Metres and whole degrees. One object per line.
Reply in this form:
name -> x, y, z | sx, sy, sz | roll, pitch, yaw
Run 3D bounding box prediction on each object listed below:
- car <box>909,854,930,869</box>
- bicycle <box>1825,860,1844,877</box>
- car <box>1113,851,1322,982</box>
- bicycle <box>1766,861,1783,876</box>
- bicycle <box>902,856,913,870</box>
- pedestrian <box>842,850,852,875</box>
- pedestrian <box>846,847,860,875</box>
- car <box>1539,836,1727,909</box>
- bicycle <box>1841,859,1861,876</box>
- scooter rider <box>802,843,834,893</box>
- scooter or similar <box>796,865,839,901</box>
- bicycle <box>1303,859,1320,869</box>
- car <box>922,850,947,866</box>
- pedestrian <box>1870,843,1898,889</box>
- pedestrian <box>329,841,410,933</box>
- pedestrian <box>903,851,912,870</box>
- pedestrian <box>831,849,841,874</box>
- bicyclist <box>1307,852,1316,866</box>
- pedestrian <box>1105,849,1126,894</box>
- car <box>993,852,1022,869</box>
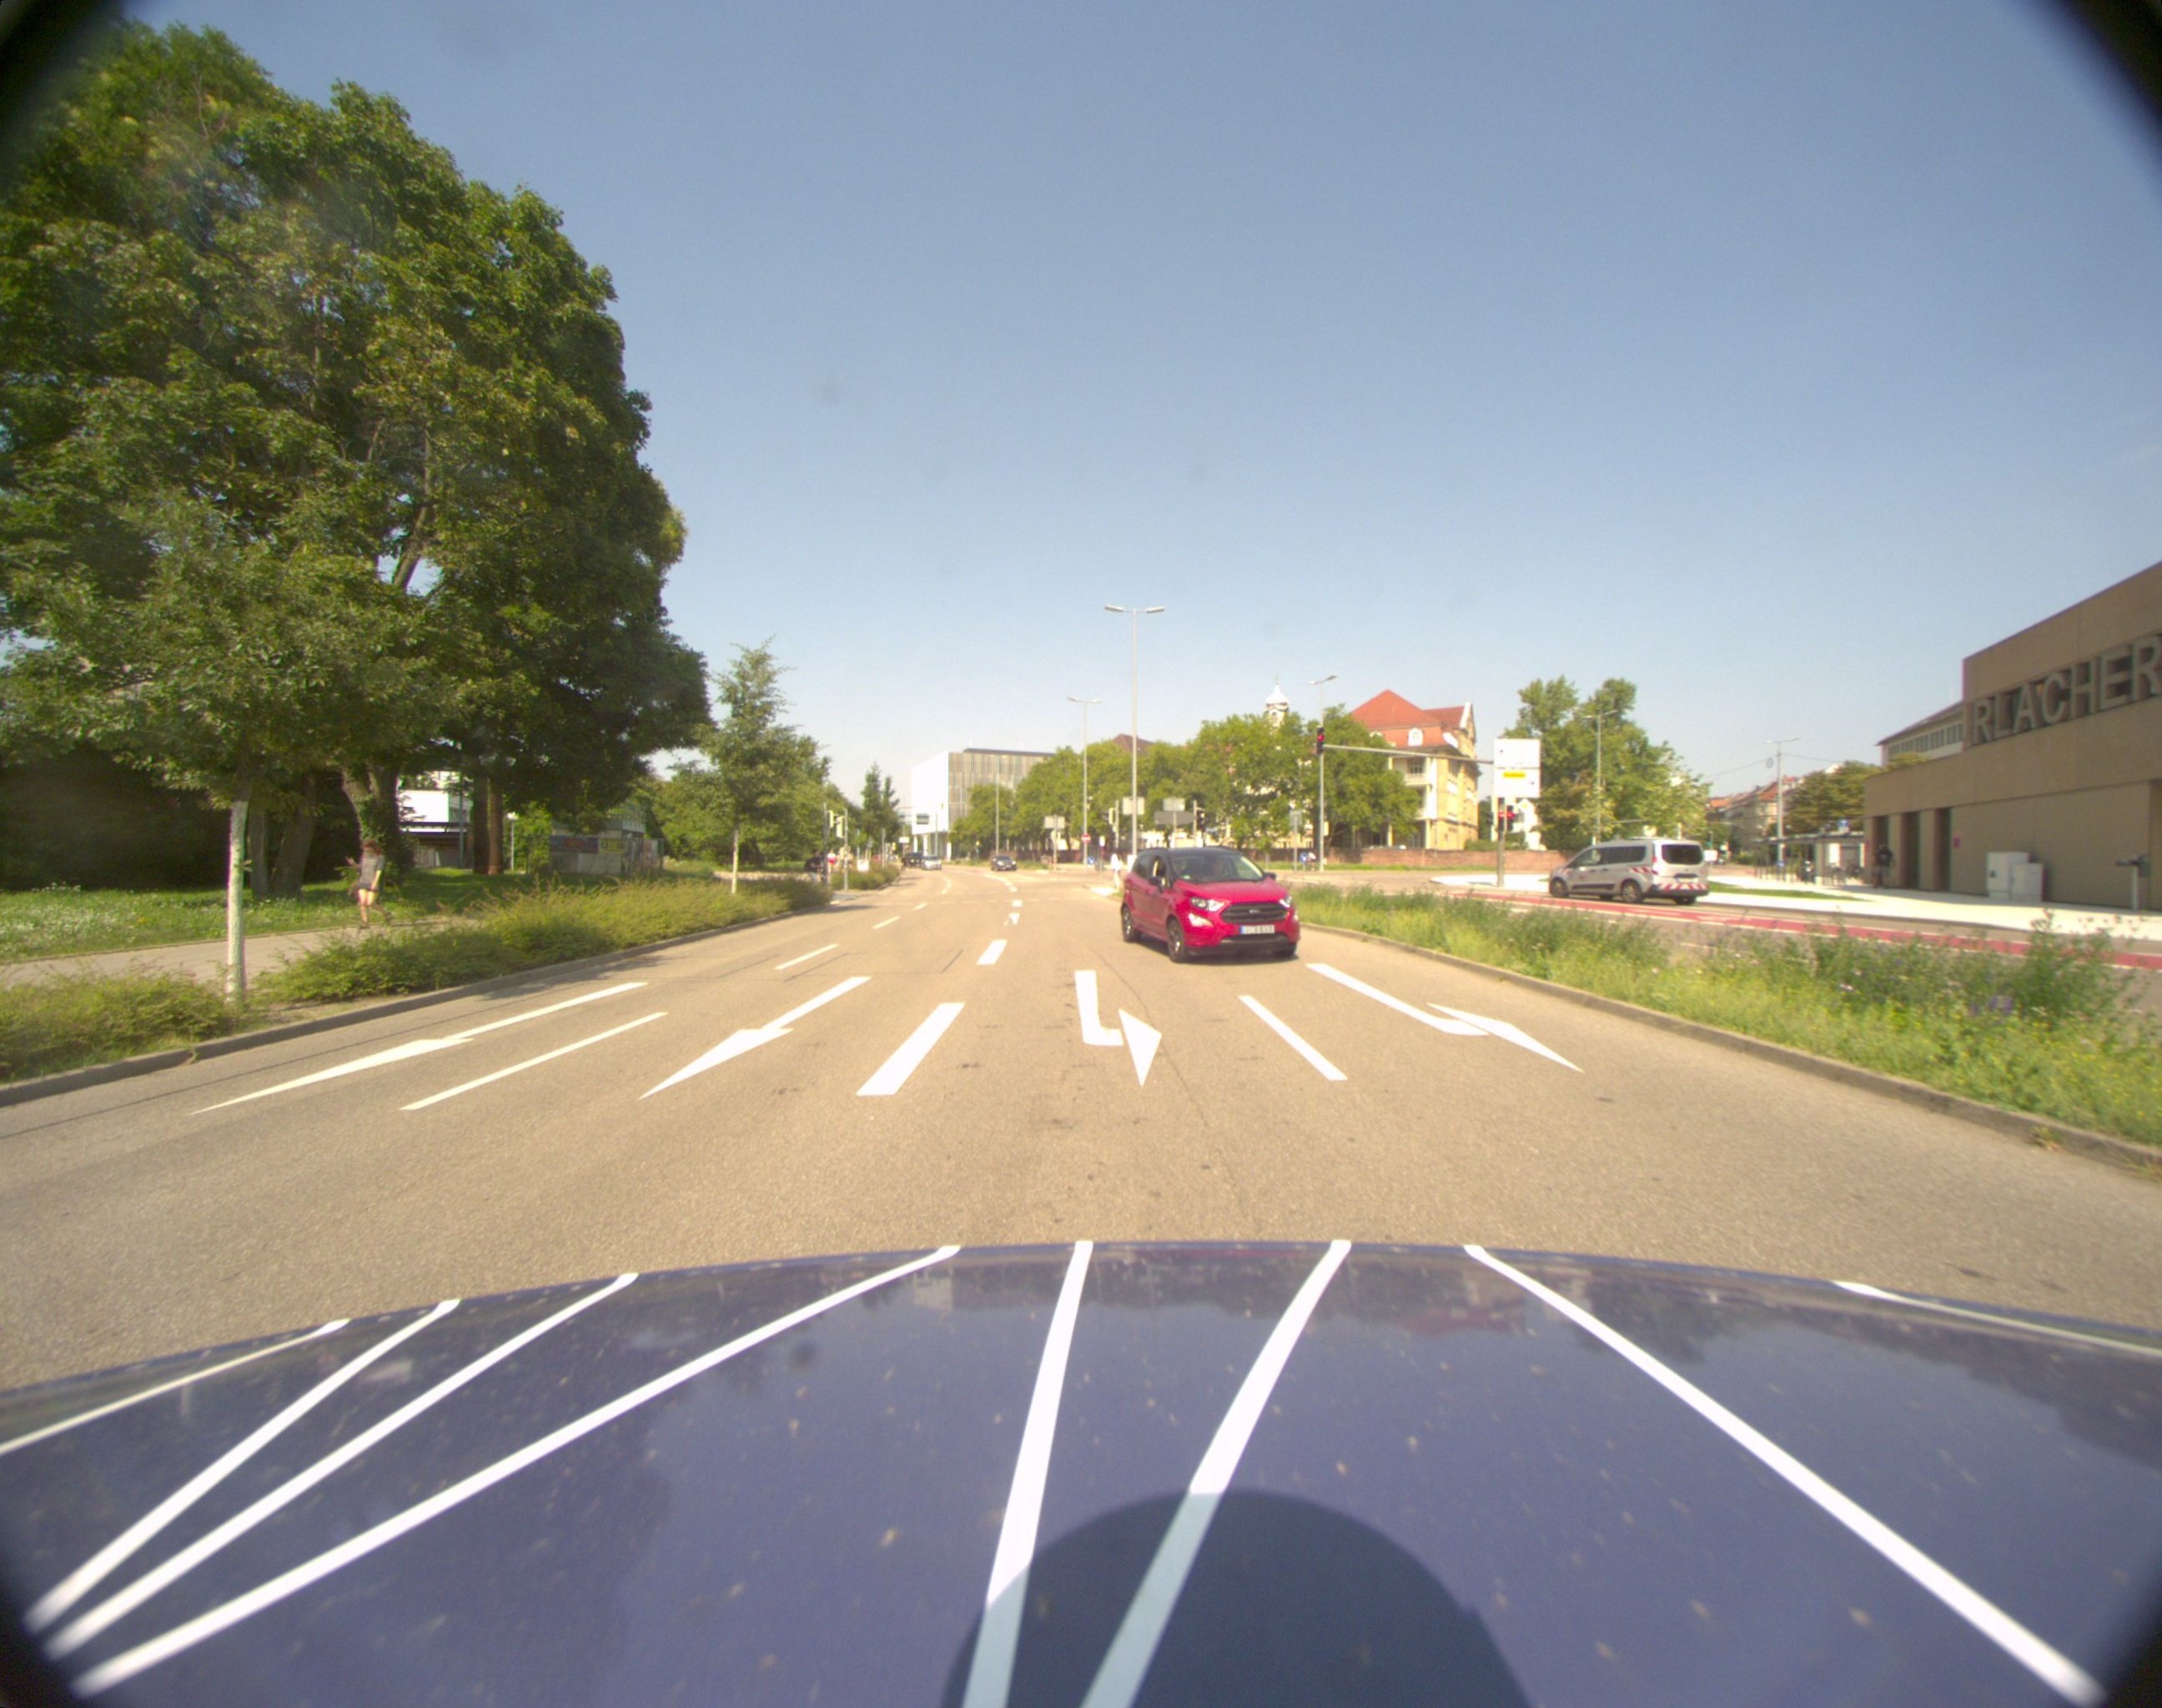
car -> -19.503, 0.853, 91.620 | 2.002, 1.769, 3.993 | 0, 0, -19
bicycle -> 45.673, 0.872, 46.064 | 0.525, 1.034, 1.774 | 1, 1, 35
car -> 1.867, 0.782, 11.754 | 1.846, 1.605, 3.996 | -1, 1, -11
bicycle -> 43.390, 0.894, 47.543 | 0.490, 0.878, 1.902 | 1, 1, 35
bicycle -> -15.321, 0.799, 67.071 | 0.787, 1.205, 1.786 | 0, 0, -18
pedestrian -> -16.790, 0.586, 54.513 | 0.694, 1.761, 0.586 | 0, 1, -18
pedestrian -> -14.580, 0.425, 48.553 | 0.794, 1.758, 0.825 | 0, 1, -18
car -> 15.821, 0.487, 22.118 | 2.000, 1.849, 4.331 | 2, 0, -6
bicycle -> 46.350, 0.812, 45.743 | 0.525, 1.034, 1.774 | 1, 1, 35
scooter rider -> -9.389, 0.494, 27.167 | 0.803, 1.729, 0.689 | 1, 1, 18
scooter or similar -> -9.419, 1.020, 27.129 | 1.365, 1.227, 0.586 | 1, 1, 18
bicycle -> 19.691, 0.868, 64.915 | 1.488, 0.807, 0.436 | 0, 1, -25
car -> -15.189, 0.416, 78.684 | 2.002, 1.669, 3.993 | 0, 0, -19
pedestrian -> 29.460, 0.422, 27.871 | 0.567, 1.668, 0.537 | 1, 1, 32
pedestrian -> -13.579, 0.616, 14.525 | 0.708, 1.695, 0.878 | 2, 1, -6
pedestrian -> -15.271, 0.599, 66.923 | 0.781, 1.659, 0.548 | 0, 1, -18
pedestrian -> -17.440, 0.504, 54.114 | 0.694, 1.761, 0.586 | 0, 1, -18
bicyclist -> 19.700, 0.432, 64.913 | 0.541, 1.225, 0.432 | 0, 0, -25
pedestrian -> 1.306, 0.650, 28.441 | 0.699, 1.685, 0.608 | 1, 1, 11
car -> -6.634, 0.555, 67.893 | 1.793, 1.349, 3.418 | -2, 1, -19
